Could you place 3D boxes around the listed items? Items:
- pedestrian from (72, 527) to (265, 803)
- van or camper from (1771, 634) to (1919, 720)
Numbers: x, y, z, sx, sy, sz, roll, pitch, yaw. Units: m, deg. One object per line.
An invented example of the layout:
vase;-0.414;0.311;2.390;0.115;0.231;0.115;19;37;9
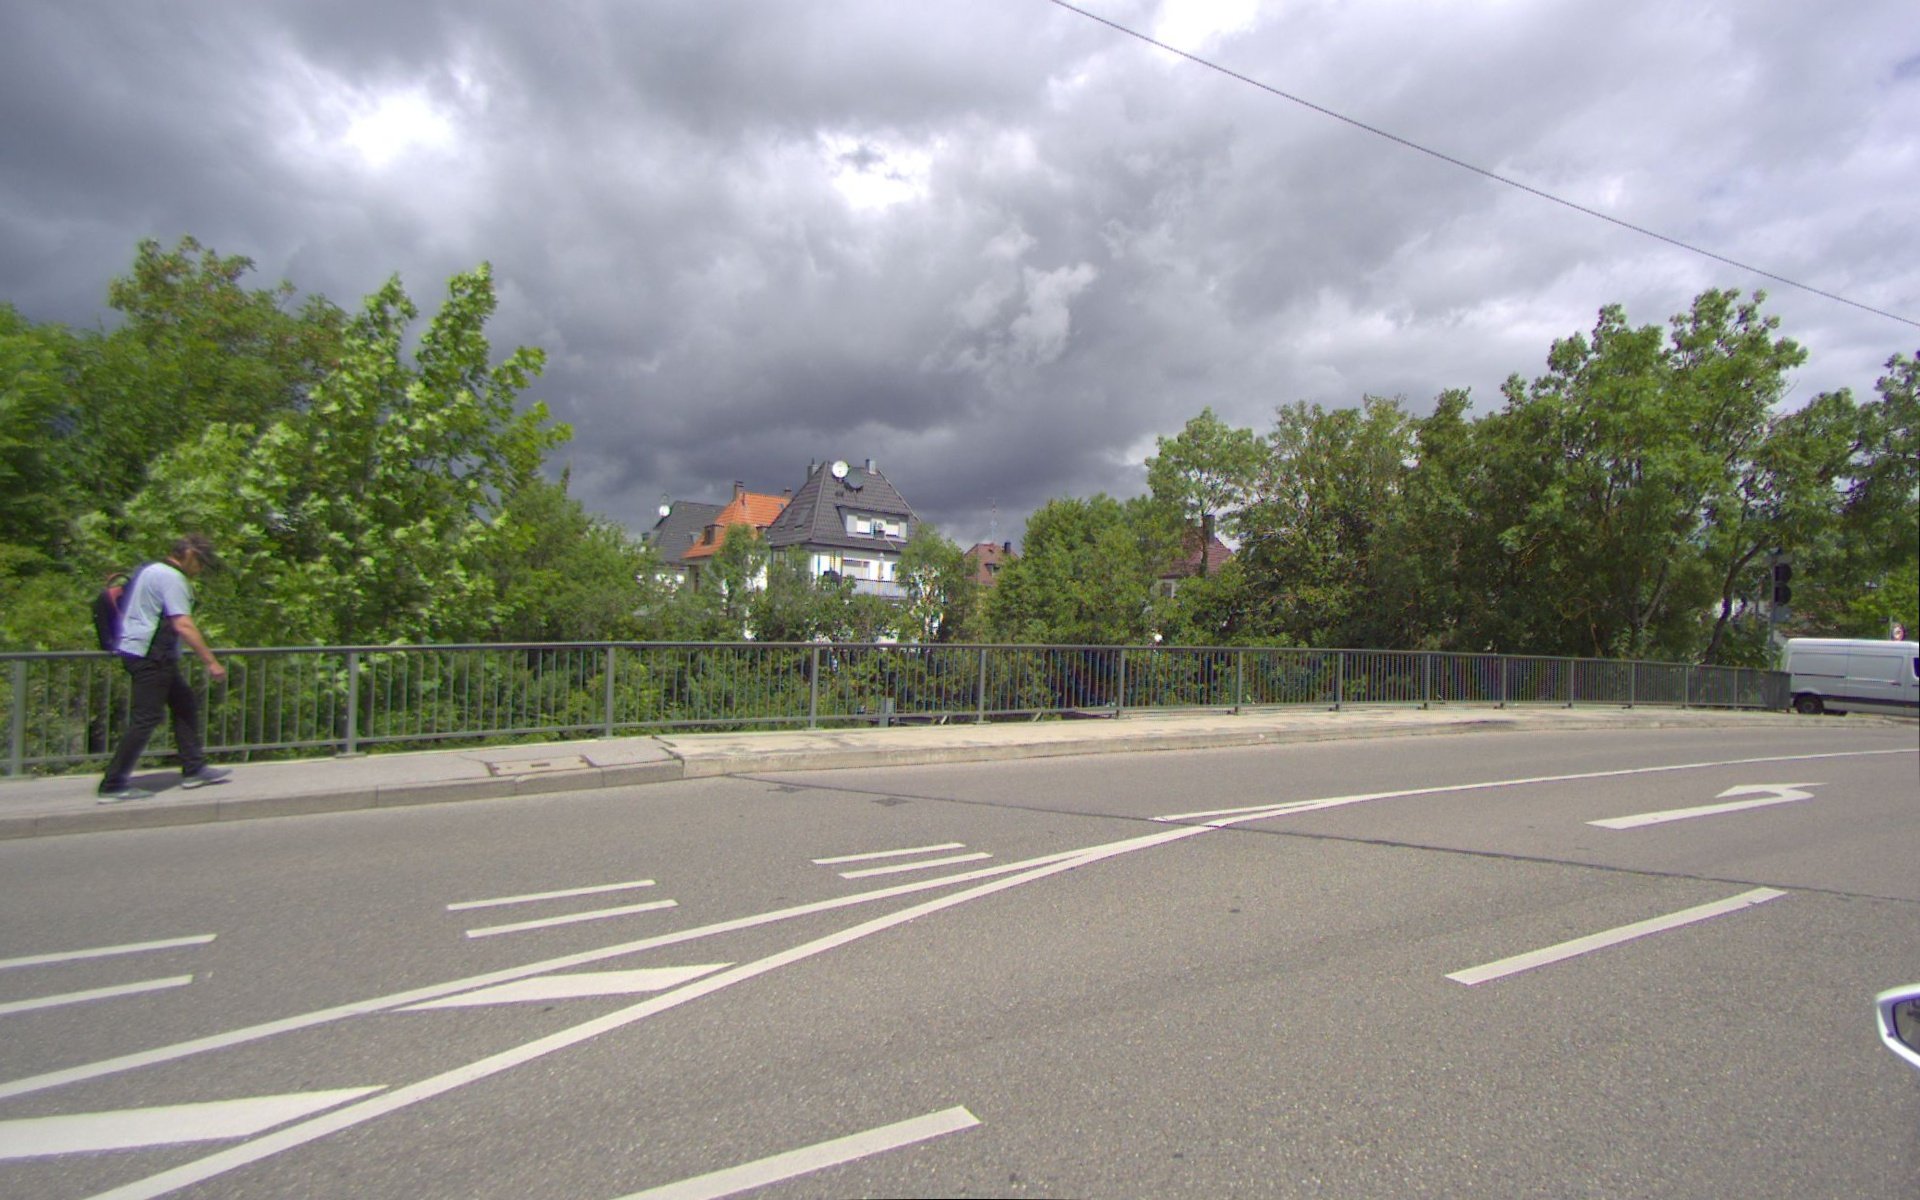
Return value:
pedestrian;-5.914;0.442;7.504;1.029;1.861;0.986;1;0;-43
van or camper;30.012;2.485;32.207;2.167;2.599;5.887;6;-4;-27
